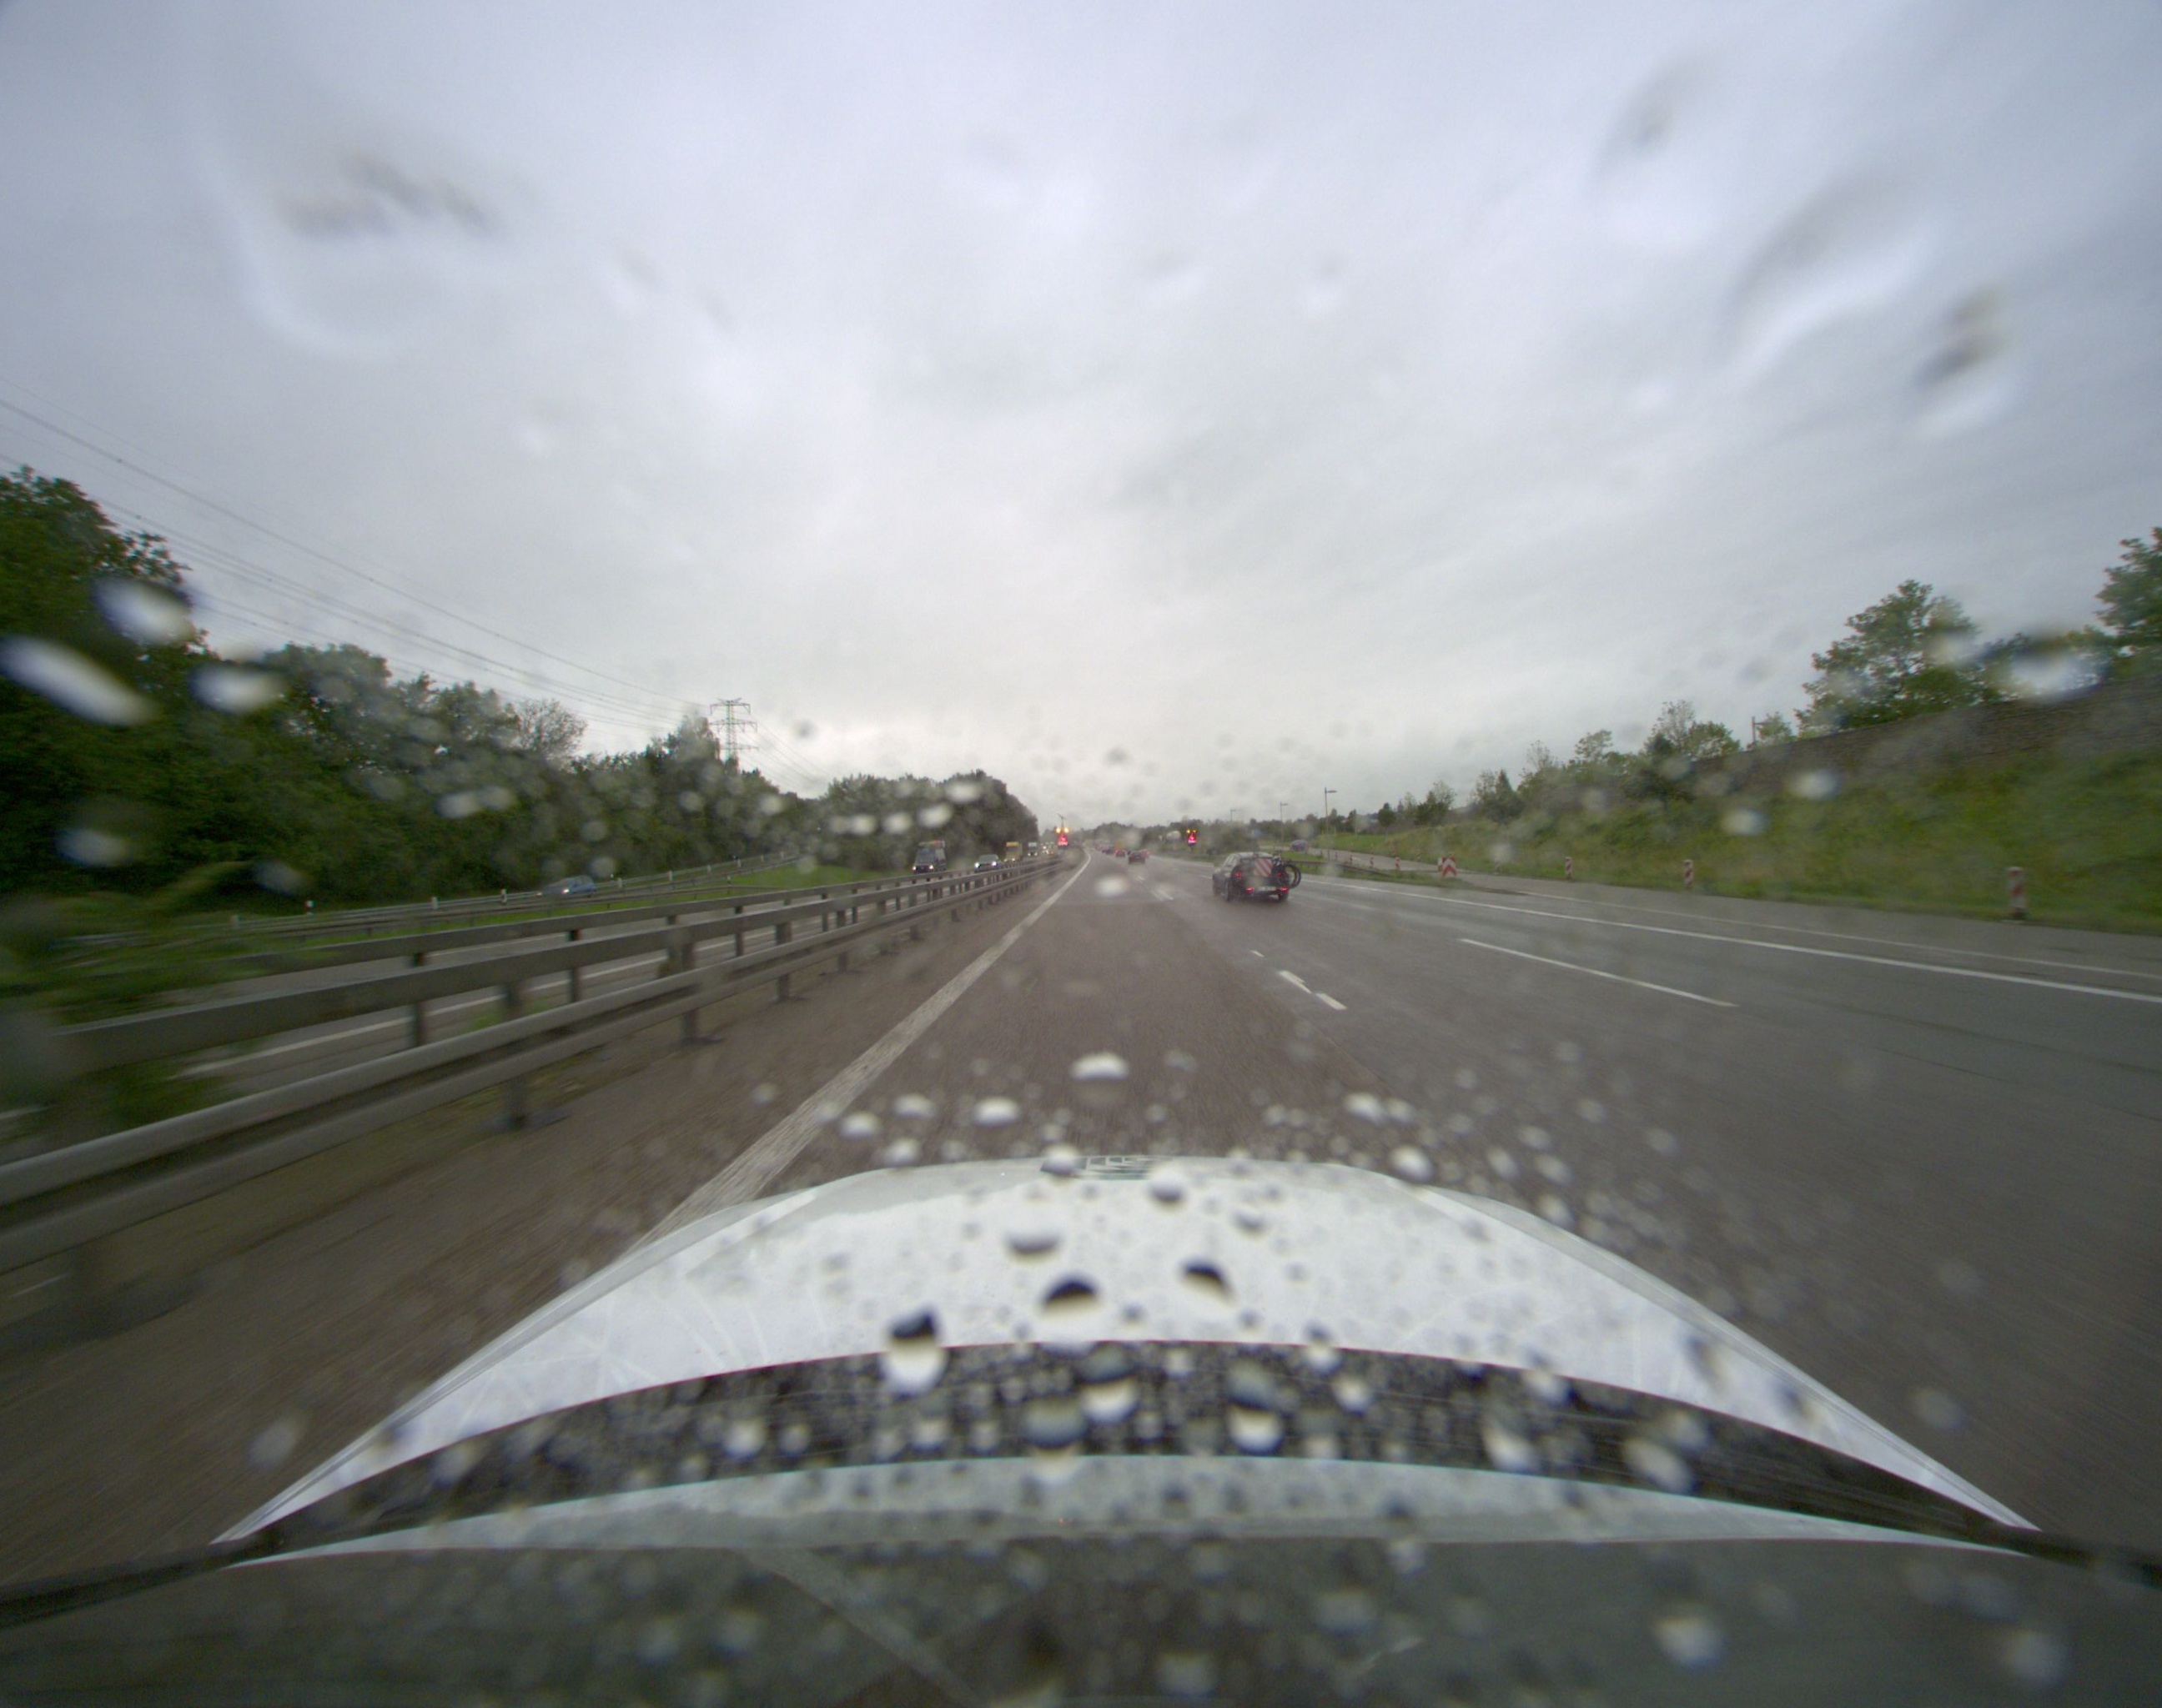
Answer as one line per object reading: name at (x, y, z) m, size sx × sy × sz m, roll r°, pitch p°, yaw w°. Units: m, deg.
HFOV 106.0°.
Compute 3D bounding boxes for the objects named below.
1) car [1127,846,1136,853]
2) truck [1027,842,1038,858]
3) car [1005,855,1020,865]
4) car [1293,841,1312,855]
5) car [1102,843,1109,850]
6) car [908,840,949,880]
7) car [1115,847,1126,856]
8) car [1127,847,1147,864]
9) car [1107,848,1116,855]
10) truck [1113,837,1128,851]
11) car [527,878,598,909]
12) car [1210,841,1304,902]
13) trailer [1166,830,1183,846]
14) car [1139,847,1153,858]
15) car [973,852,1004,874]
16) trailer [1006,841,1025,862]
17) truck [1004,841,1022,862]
car at (12.487, -1.213, 203.014) m, size 1.987 × 1.628 × 4.000 m, roll -3°, pitch 0°, yaw 0°
truck at (-13.933, -1.187, 234.302) m, size 2.634 × 4.237 × 4.001 m, roll -2°, pitch 0°, yaw 1°
car at (-11.285, 0.991, 133.615) m, size 1.868 × 1.493 × 4.515 m, roll -3°, pitch 0°, yaw 1°
car at (29.656, -0.802, 109.175) m, size 1.912 × 1.709 × 4.008 m, roll -3°, pitch 0°, yaw 7°
car at (7.543, -2.328, 254.405) m, size 1.987 × 2.205 × 4.000 m, roll -3°, pitch 0°, yaw 0°
car at (-13.749, 0.483, 73.830) m, size 2.246 × 3.327 × 6.177 m, roll -3°, pitch 0°, yaw 2°
car at (7.599, -0.480, 157.373) m, size 1.987 × 1.628 × 4.000 m, roll -3°, pitch 0°, yaw 0°
car at (6.332, 0.153, 92.094) m, size 1.987 × 1.761 × 4.000 m, roll -3°, pitch 0°, yaw 0°
car at (7.569, -0.713, 203.783) m, size 1.987 × 1.628 × 4.000 m, roll -3°, pitch 0°, yaw 0°
truck at (11.970, -2.972, 249.939) m, size 3.911 × 3.981 × 12.240 m, roll -3°, pitch 0°, yaw 1°
car at (-29.884, 2.244, 47.085) m, size 1.967 × 1.543 × 3.988 m, roll -3°, pitch 0°, yaw -9°
car at (5.339, 0.511, 25.394) m, size 2.049 × 1.671 × 5.527 m, roll -1°, pitch -1°, yaw 4°
trailer at (24.993, -4.189, 218.158) m, size 2.975 × 4.156 × 12.957 m, roll -3°, pitch 0°, yaw 1°
car at (11.172, -0.260, 139.960) m, size 1.987 × 1.761 × 4.000 m, roll -3°, pitch 0°, yaw 0°
car at (-7.821, 0.738, 69.235) m, size 1.916 × 1.656 × 4.792 m, roll -3°, pitch 0°, yaw 2°
trailer at (-13.781, -0.589, 171.550) m, size 2.752 × 4.055 × 9.201 m, roll -4°, pitch 0°, yaw 1°
truck at (-13.840, -0.561, 166.262) m, size 2.753 × 4.055 × 6.157 m, roll -4°, pitch 0°, yaw 1°
